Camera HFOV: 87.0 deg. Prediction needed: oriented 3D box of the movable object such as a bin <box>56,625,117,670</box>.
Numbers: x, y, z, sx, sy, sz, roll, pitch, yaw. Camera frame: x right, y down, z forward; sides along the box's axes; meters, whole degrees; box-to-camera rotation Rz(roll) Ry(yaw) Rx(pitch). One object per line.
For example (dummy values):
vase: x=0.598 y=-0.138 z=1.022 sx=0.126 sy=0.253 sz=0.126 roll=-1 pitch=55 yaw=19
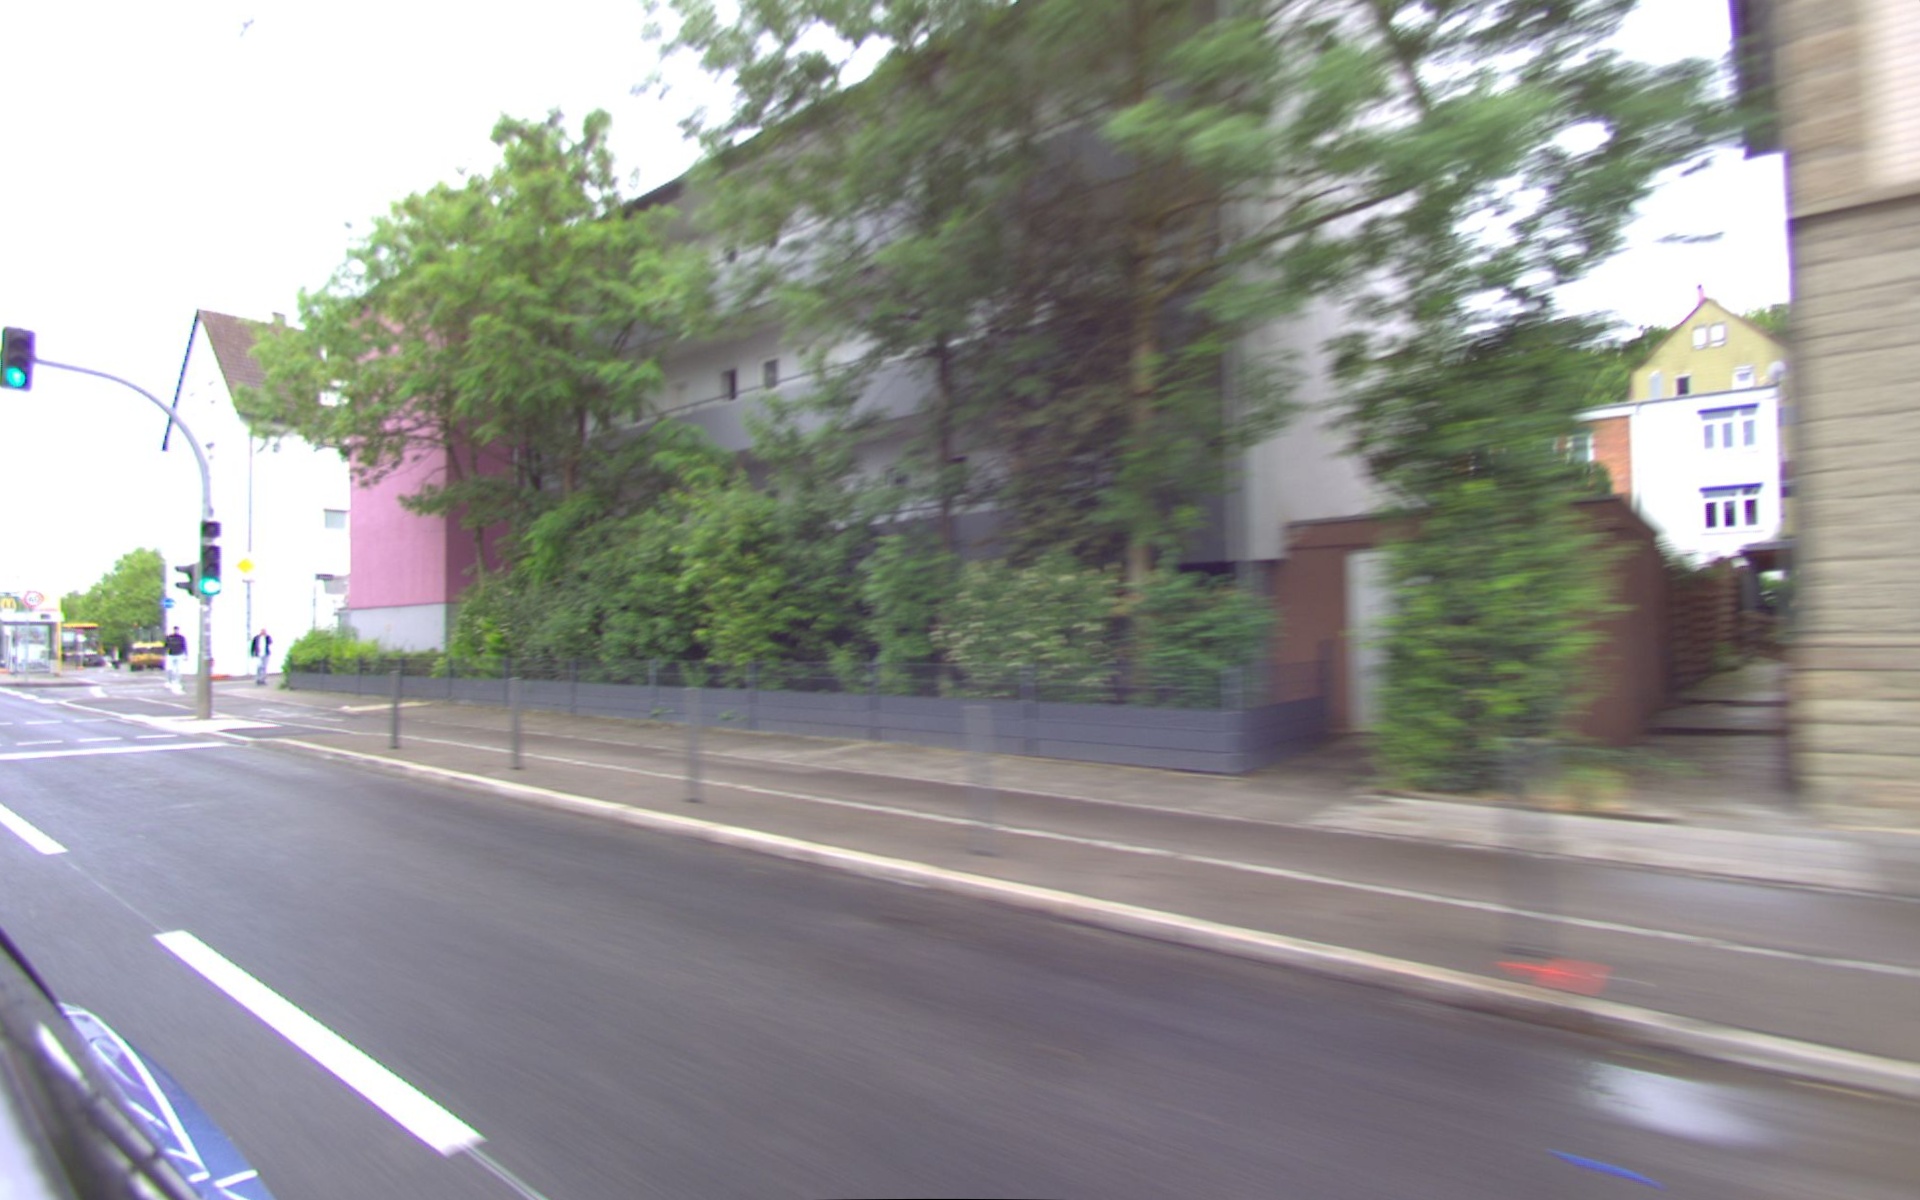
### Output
movable object such as a bin: x=-80.299 y=4.438 z=93.195 sx=2.907 sy=3.873 sz=8.149 roll=0 pitch=-3 yaw=-32

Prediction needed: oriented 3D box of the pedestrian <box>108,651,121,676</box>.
pedestrian: x=-53.692 y=4.019 z=64.258 sx=0.595 sy=1.540 sz=1.040 roll=-1 pitch=-3 yaw=-39

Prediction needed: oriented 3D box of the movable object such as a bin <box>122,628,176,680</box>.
movable object such as a bin: x=-47.209 y=3.161 z=58.988 sx=2.101 sy=2.828 sz=4.990 roll=-1 pitch=-3 yaw=-35

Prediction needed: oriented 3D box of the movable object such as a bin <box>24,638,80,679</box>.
movable object such as a bin: x=-71.465 y=4.635 z=79.727 sx=2.787 sy=3.136 sz=4.643 roll=1 pitch=-4 yaw=-37

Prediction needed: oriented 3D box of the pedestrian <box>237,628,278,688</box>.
pedestrian: x=-21.974 y=1.803 z=31.644 sx=1.115 sy=1.835 sz=0.797 roll=-4 pitch=-3 yaw=40

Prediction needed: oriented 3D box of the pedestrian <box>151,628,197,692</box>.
pedestrian: x=-24.015 y=1.837 z=30.923 sx=1.043 sy=1.897 sz=0.853 roll=-4 pitch=-4 yaw=39
